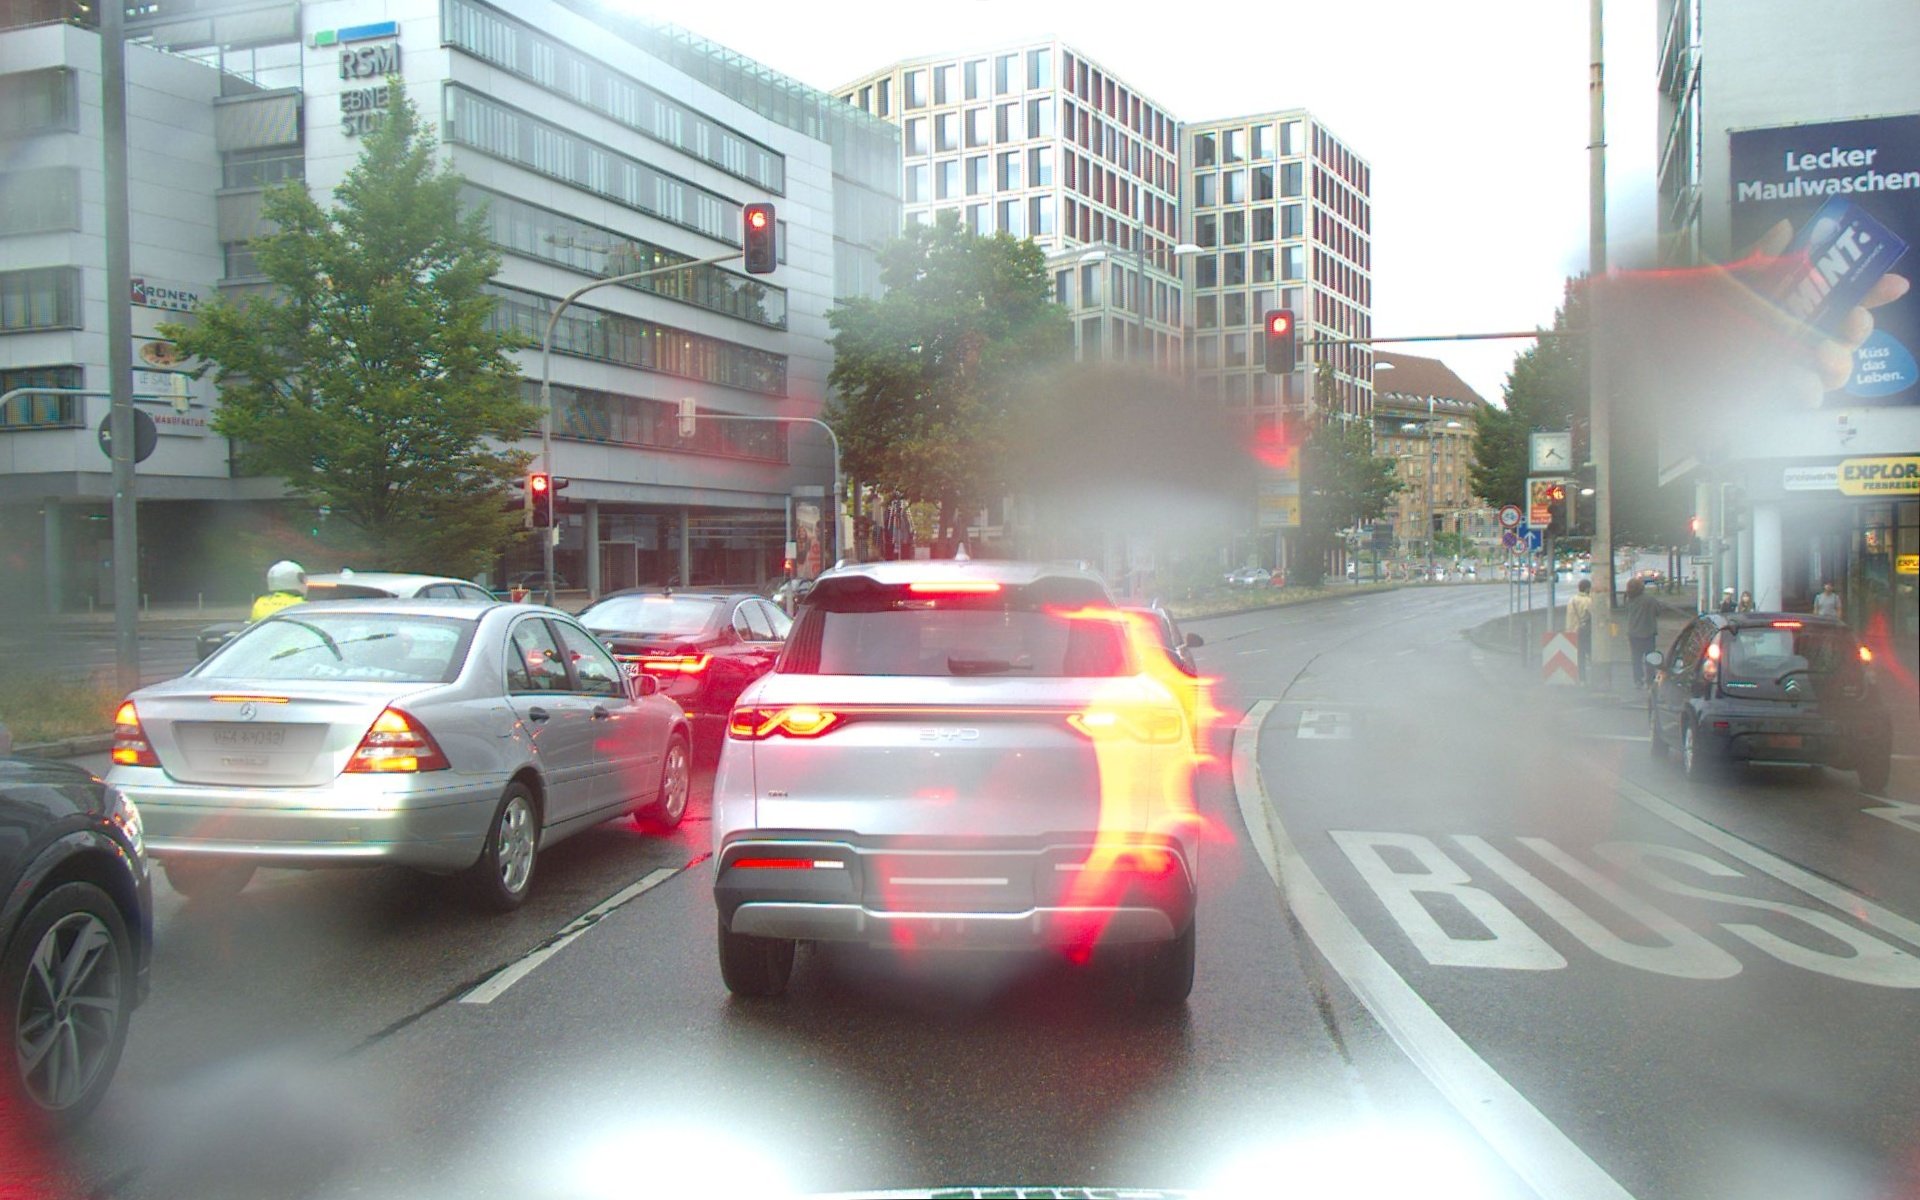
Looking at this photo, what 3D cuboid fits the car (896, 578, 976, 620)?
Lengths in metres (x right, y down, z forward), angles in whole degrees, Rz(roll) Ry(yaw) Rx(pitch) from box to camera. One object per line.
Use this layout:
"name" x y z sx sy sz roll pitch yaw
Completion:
"car" -0.816 -0.024 58.824 1.655 1.409 3.870 1 0 18

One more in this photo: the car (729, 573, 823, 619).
"car" -6.812 -0.167 61.660 1.952 1.639 4.001 1 1 20

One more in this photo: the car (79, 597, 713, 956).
"car" -2.637 0.727 8.828 1.537 1.432 4.112 1 0 7

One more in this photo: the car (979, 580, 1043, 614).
"car" 2.554 -0.181 81.288 1.598 1.586 4.592 0 1 23

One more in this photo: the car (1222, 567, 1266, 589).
"car" 19.982 -1.528 116.279 1.955 1.514 3.996 0 1 27

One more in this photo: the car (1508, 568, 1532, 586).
"car" 50.784 -2.084 150.047 1.849 1.671 4.000 1 1 22

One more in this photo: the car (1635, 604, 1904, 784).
"car" 7.484 0.783 15.642 1.537 1.454 4.003 1 0 15

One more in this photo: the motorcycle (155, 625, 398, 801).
"motorcycle" -5.188 0.813 12.730 0.783 1.205 2.030 1 0 8

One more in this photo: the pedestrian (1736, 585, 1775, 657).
"pedestrian" 17.570 0.461 36.541 0.615 1.570 0.649 1 0 43

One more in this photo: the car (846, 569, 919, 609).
"car" -3.221 -0.451 69.317 1.605 1.598 3.718 1 0 22

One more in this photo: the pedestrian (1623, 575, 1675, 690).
"pedestrian" 11.149 0.508 26.776 0.733 1.829 0.817 0 1 20

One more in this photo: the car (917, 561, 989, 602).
"car" -0.266 -0.761 68.325 1.610 1.608 4.086 1 0 21

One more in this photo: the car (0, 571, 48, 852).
"car" -6.225 0.622 7.221 1.827 1.560 4.777 1 1 0

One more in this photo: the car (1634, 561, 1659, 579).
"car" 62.759 -2.769 151.239 1.662 1.512 3.993 1 0 29

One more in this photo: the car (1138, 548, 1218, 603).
"car" 8.636 -0.943 65.098 1.953 2.049 4.848 1 0 22

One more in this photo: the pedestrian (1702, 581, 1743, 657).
"pedestrian" 17.086 0.411 37.046 0.659 1.684 0.649 1 0 43

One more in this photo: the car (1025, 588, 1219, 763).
"car" 1.740 0.678 16.643 1.657 1.512 4.003 1 0 10

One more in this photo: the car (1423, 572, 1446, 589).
"car" 42.660 -1.774 148.709 1.598 1.462 3.907 0 1 23

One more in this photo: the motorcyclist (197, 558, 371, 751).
"motorcyclist" -5.170 0.398 12.713 0.753 1.404 1.119 1 0 8

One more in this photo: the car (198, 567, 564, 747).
"car" -5.458 0.494 16.175 1.670 1.512 4.003 1 0 9

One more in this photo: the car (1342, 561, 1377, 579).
"car" 47.691 -3.557 197.588 3.904 2.049 2.001 1 0 20

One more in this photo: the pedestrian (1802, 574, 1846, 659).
"pedestrian" 18.756 0.349 35.890 0.659 1.825 0.768 1 0 43

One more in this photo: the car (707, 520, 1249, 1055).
"car" 0.102 0.616 7.373 1.739 1.708 4.000 1 0 1

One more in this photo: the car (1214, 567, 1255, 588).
"car" 20.468 -1.666 123.341 1.955 1.514 3.996 0 1 27

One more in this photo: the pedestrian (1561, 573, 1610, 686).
"pedestrian" 10.354 0.474 27.392 0.733 1.829 0.817 0 1 20

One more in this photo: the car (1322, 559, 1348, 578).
"car" 37.220 -3.079 164.090 1.577 1.771 3.437 1 0 31

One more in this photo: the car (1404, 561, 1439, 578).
"car" 55.451 -3.681 198.646 3.904 2.049 2.001 1 0 20

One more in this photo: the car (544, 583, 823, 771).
"car" -2.431 0.638 15.521 1.537 1.512 4.003 1 0 6

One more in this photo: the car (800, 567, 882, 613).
"car" -4.223 -0.366 59.362 1.609 1.563 4.155 1 0 16

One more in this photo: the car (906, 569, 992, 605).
"car" -0.451 -0.605 75.121 1.778 1.536 5.191 0 1 26

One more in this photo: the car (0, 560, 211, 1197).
"car" -3.122 0.675 2.970 1.614 1.548 4.271 1 1 0
